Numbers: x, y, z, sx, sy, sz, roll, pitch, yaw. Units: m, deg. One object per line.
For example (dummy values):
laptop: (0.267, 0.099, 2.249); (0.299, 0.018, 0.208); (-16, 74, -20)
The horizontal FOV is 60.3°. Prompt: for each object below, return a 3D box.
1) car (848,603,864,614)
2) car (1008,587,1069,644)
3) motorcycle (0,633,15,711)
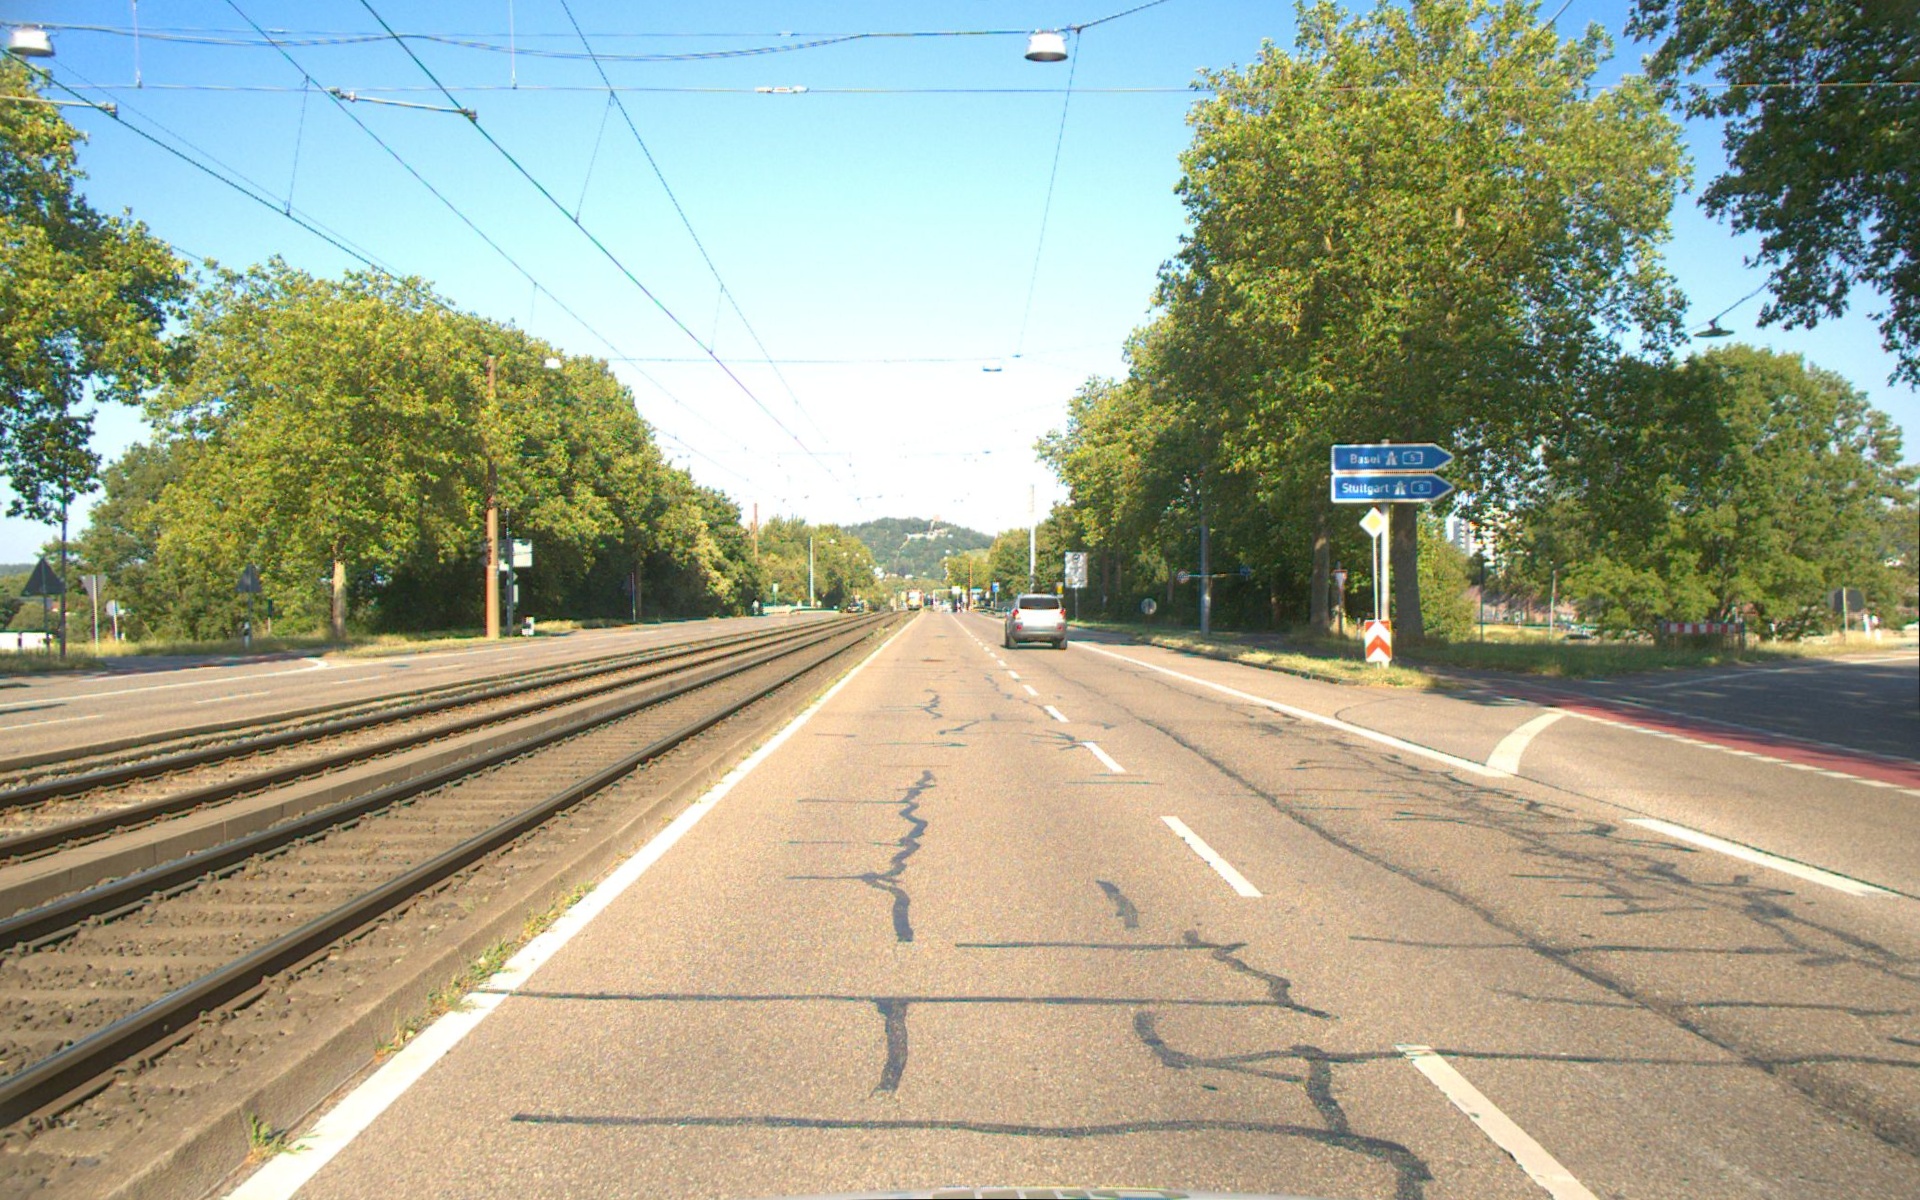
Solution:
car: (-16.437, 1.342, 260.822); (1.952, 1.715, 4.797); (-2, 0, 2)
car: (2.453, 0.497, 52.647); (1.849, 1.723, 4.257); (0, 0, 1)
motorcycle: (-14.006, 1.024, 23.093); (0.525, 1.110, 1.901); (2, 0, -1)
